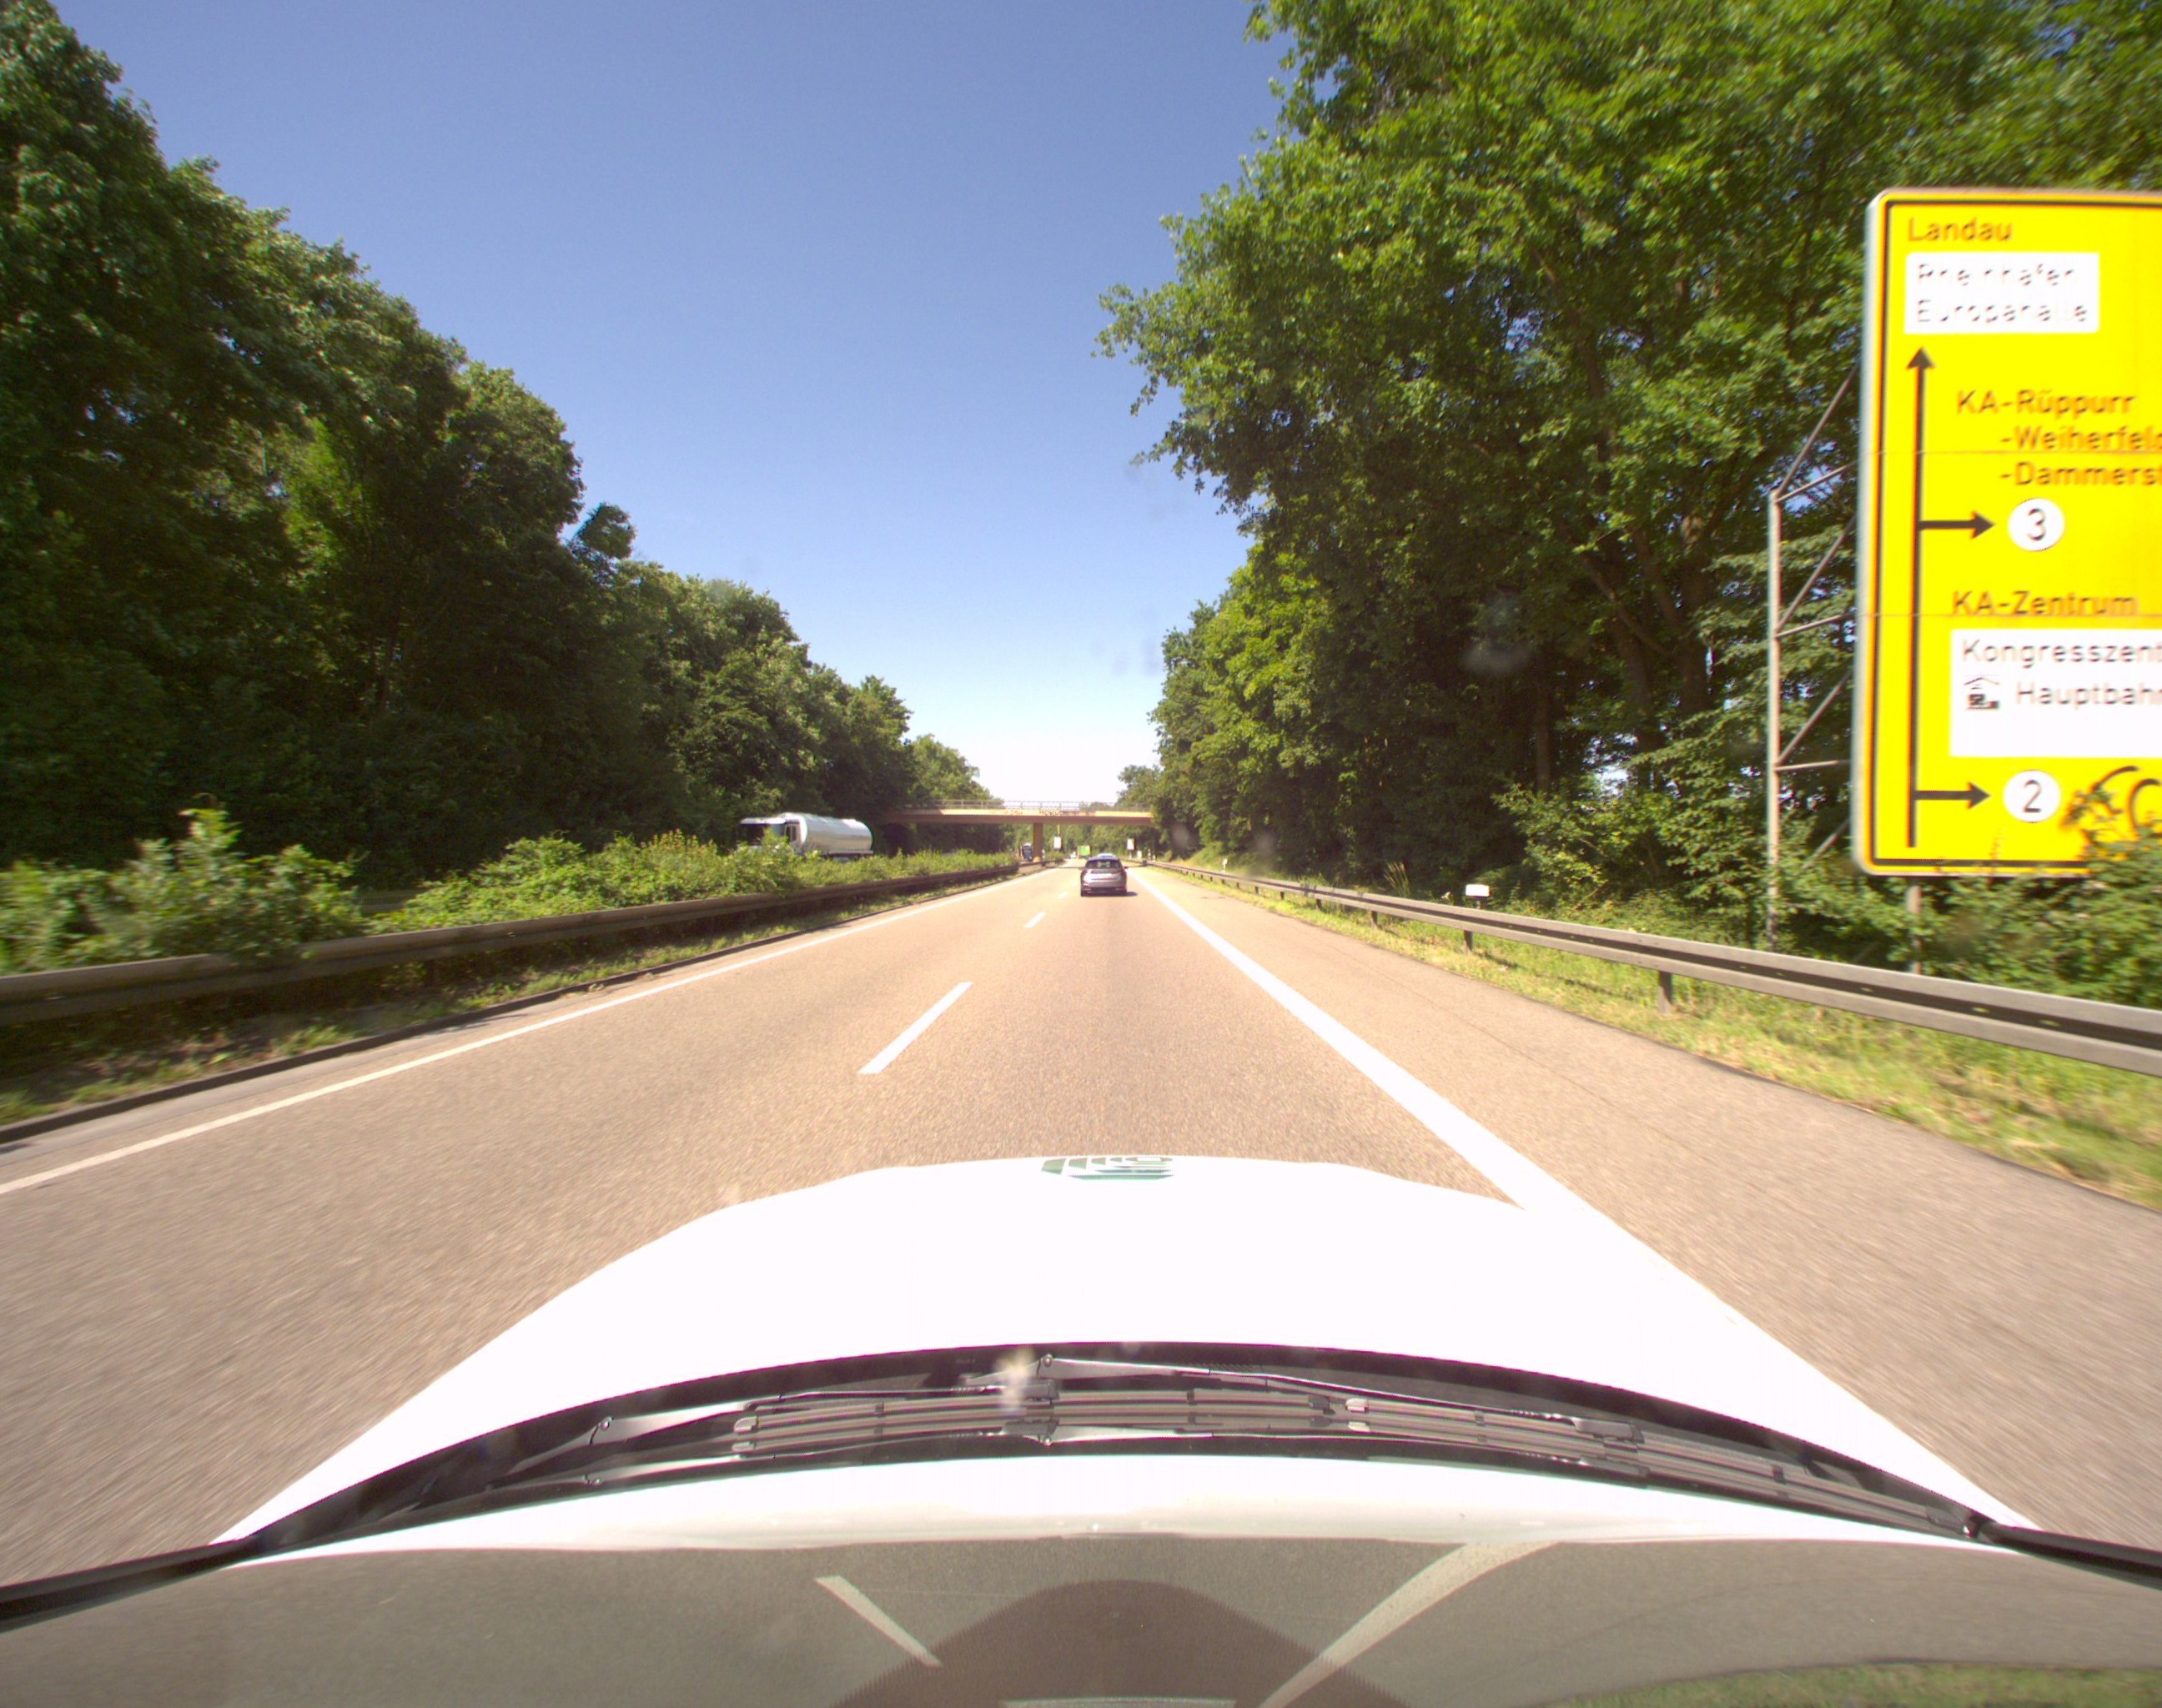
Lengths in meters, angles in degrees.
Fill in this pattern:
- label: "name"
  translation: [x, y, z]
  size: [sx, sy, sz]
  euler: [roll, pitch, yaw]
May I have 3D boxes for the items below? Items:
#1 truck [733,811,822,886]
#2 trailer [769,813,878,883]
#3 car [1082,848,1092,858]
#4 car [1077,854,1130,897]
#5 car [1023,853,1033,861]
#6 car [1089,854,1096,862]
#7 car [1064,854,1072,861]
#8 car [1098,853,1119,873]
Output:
- label: "truck"
  translation: [-14.237, -0.239, 38.510]
  size: [2.329, 3.342, 4.544]
  euler: [0, 0, 2]
- label: "trailer"
  translation: [-13.883, -0.267, 45.100]
  size: [1.986, 3.402, 11.424]
  euler: [0, 0, 2]
- label: "car"
  translation: [1.872, -0.301, 237.808]
  size: [2.738, 2.654, 4.002]
  euler: [0, 0, 2]
- label: "car"
  translation: [0.890, 0.747, 30.455]
  size: [1.832, 1.472, 3.627]
  euler: [0, 0, 3]
- label: "car"
  translation: [-12.537, 0.710, 194.446]
  size: [1.986, 2.014, 4.002]
  euler: [0, 0, 2]
- label: "car"
  translation: [2.955, 1.127, 208.809]
  size: [1.757, 2.014, 3.589]
  euler: [0, 0, 2]
- label: "car"
  translation: [-3.921, 1.142, 245.445]
  size: [1.986, 2.014, 4.002]
  euler: [0, 0, 2]
- label: "car"
  translation: [2.137, 0.699, 63.143]
  size: [1.516, 1.446, 3.343]
  euler: [0, 0, 3]
